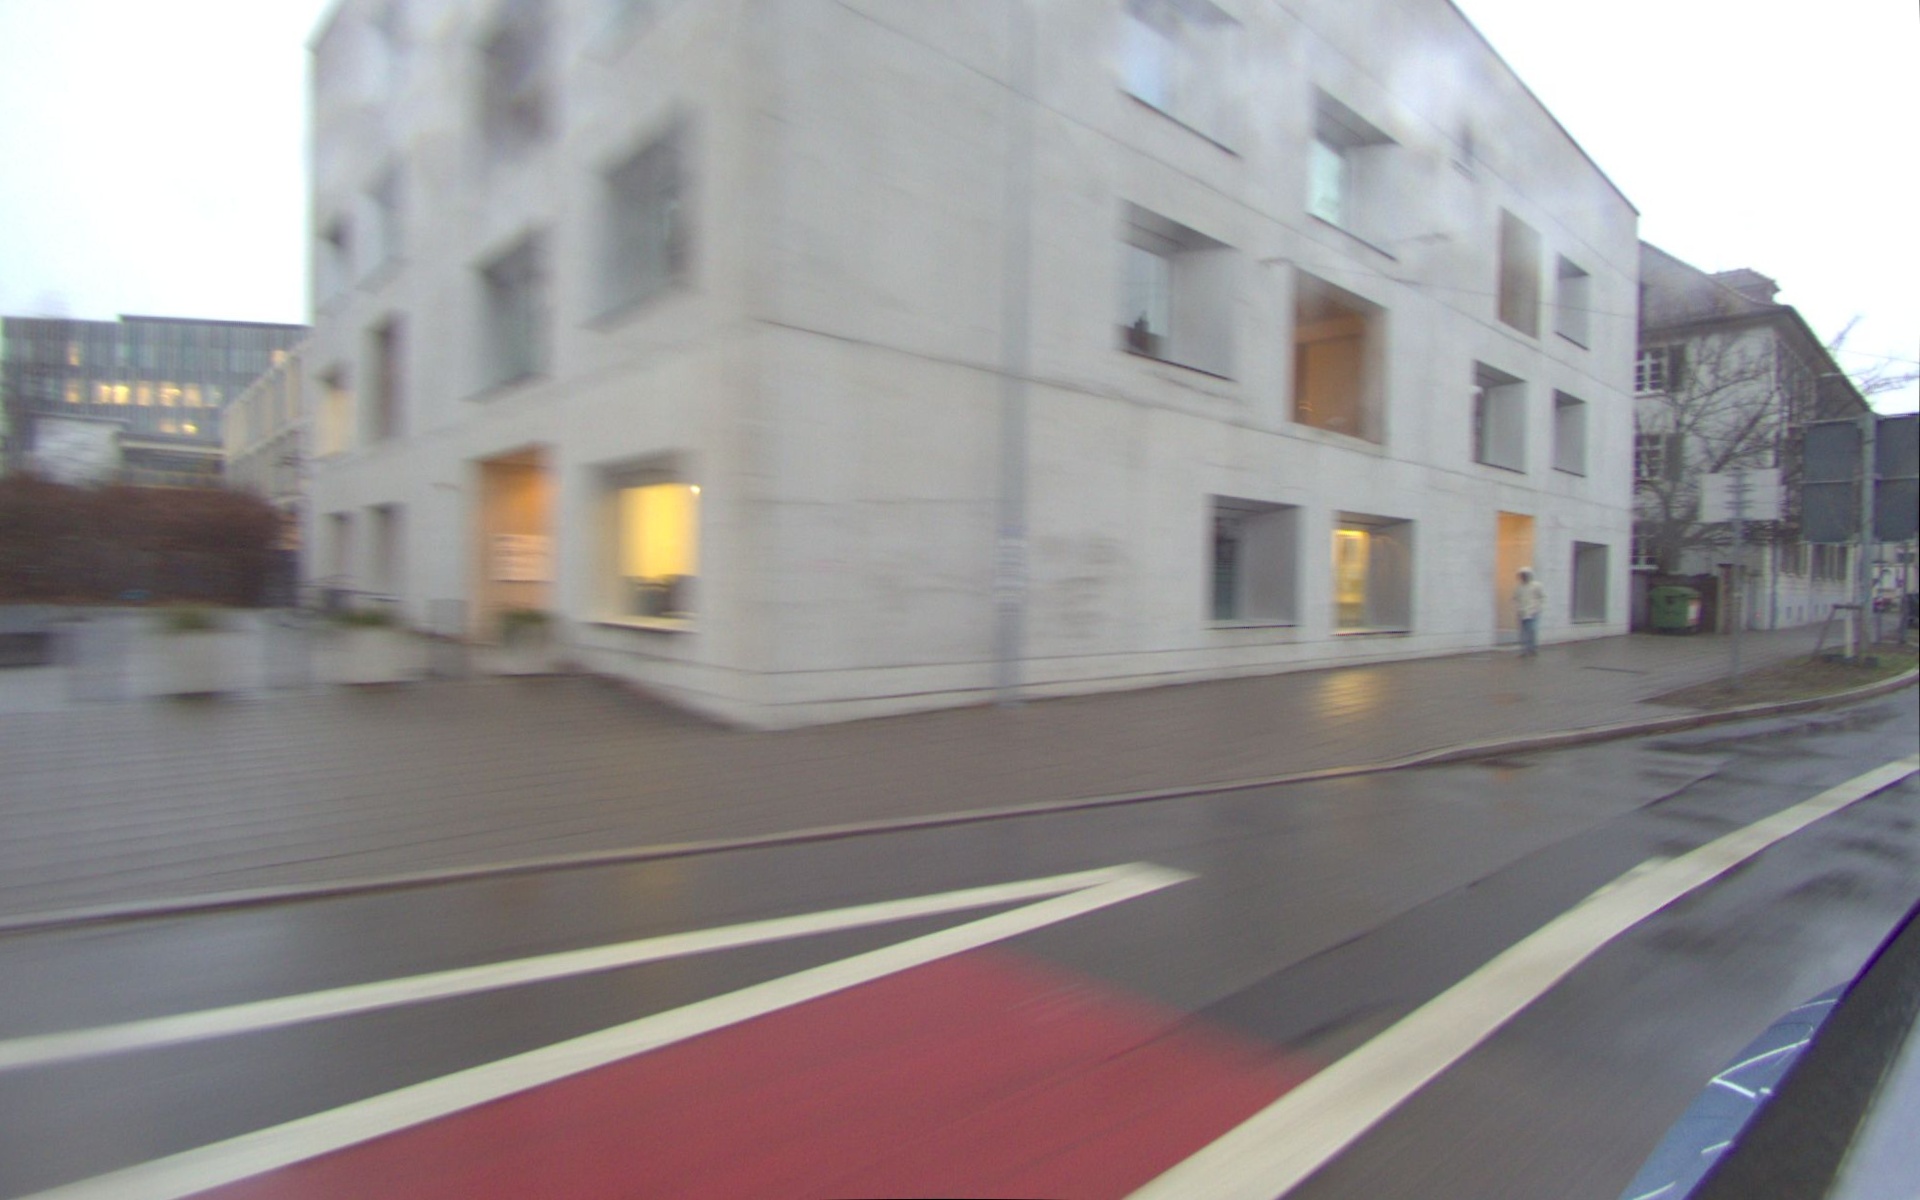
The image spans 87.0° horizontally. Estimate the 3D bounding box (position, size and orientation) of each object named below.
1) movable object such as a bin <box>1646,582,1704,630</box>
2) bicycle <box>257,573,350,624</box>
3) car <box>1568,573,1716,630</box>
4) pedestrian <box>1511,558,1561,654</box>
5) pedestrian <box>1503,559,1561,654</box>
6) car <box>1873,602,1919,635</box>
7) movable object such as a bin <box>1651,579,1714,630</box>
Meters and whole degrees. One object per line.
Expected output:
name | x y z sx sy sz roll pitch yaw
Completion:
movable object such as a bin | 22.533 0.171 31.877 1.396 1.463 1.257 0 2 -45
bicycle | -13.110 -0.048 20.246 1.527 0.992 0.408 -1 1 -39
car | 20.941 0.062 31.155 1.702 1.668 3.453 0 -1 -42
pedestrian | 11.617 0.110 20.423 0.648 1.882 0.657 0 2 -41
pedestrian | 11.573 0.113 20.480 0.706 1.881 0.773 0 2 -41
car | 43.162 0.802 44.709 3.825 1.447 1.842 -1 0 31
movable object such as a bin | 21.591 0.113 30.245 1.395 1.463 1.258 0 2 -42
